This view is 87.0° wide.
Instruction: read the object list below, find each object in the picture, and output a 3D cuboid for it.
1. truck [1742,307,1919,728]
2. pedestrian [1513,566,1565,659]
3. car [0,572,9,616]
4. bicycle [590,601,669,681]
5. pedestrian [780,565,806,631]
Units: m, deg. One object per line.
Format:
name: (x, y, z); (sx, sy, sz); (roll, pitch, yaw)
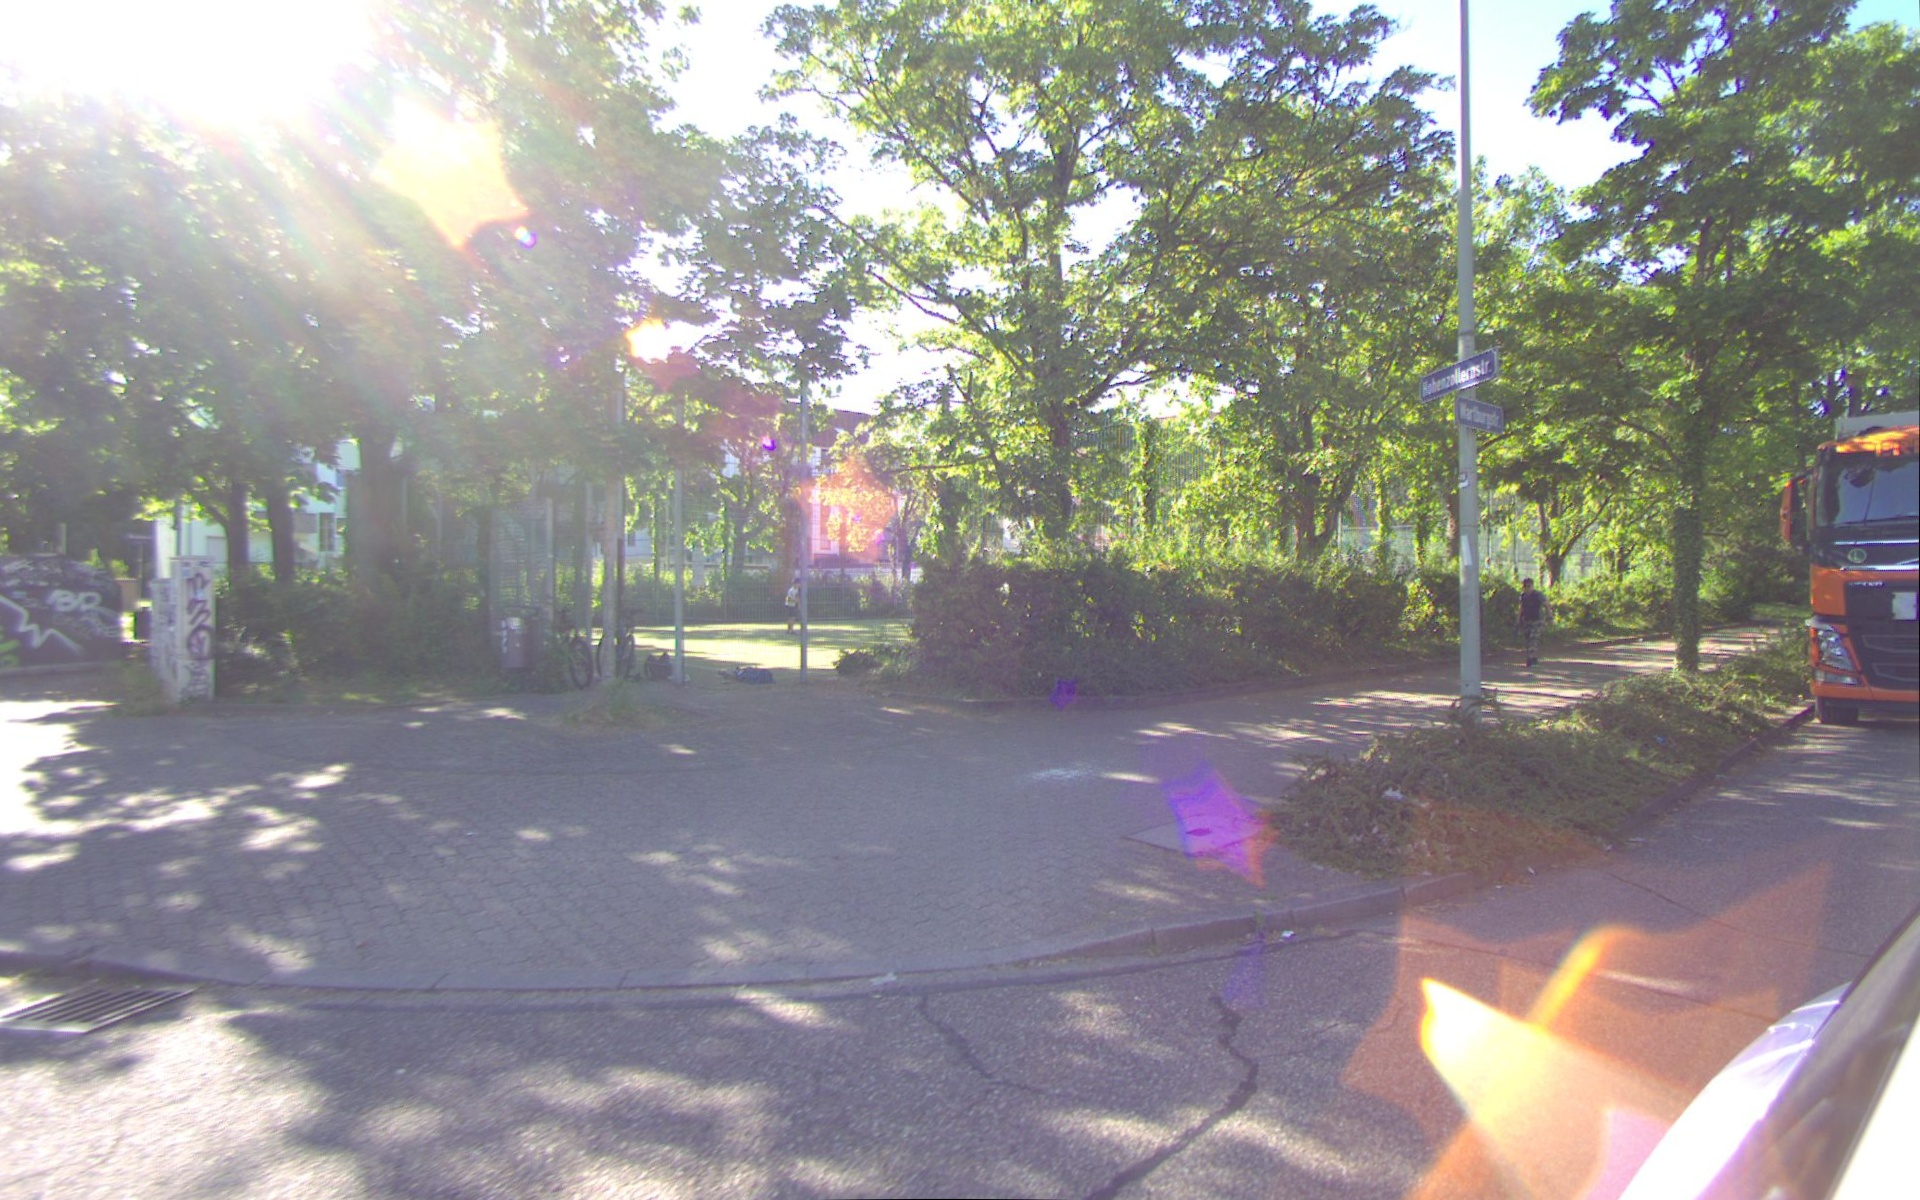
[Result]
truck: (13.899, -0.893, 14.072); (10.405, 4.399, 3.162); (0, 1, -43)
pedestrian: (10.676, 0.219, 18.661); (0.630, 1.659, 0.641); (0, 0, -41)
car: (-38.168, -0.274, 39.025); (2.031, 1.671, 3.993); (0, 1, -42)
bicycle: (-4.109, 0.504, 12.602); (0.889, 0.970, 0.295); (1, 0, -1)
pedestrian: (-3.993, -0.048, 24.142); (0.435, 1.555, 0.423); (1, 0, 43)
